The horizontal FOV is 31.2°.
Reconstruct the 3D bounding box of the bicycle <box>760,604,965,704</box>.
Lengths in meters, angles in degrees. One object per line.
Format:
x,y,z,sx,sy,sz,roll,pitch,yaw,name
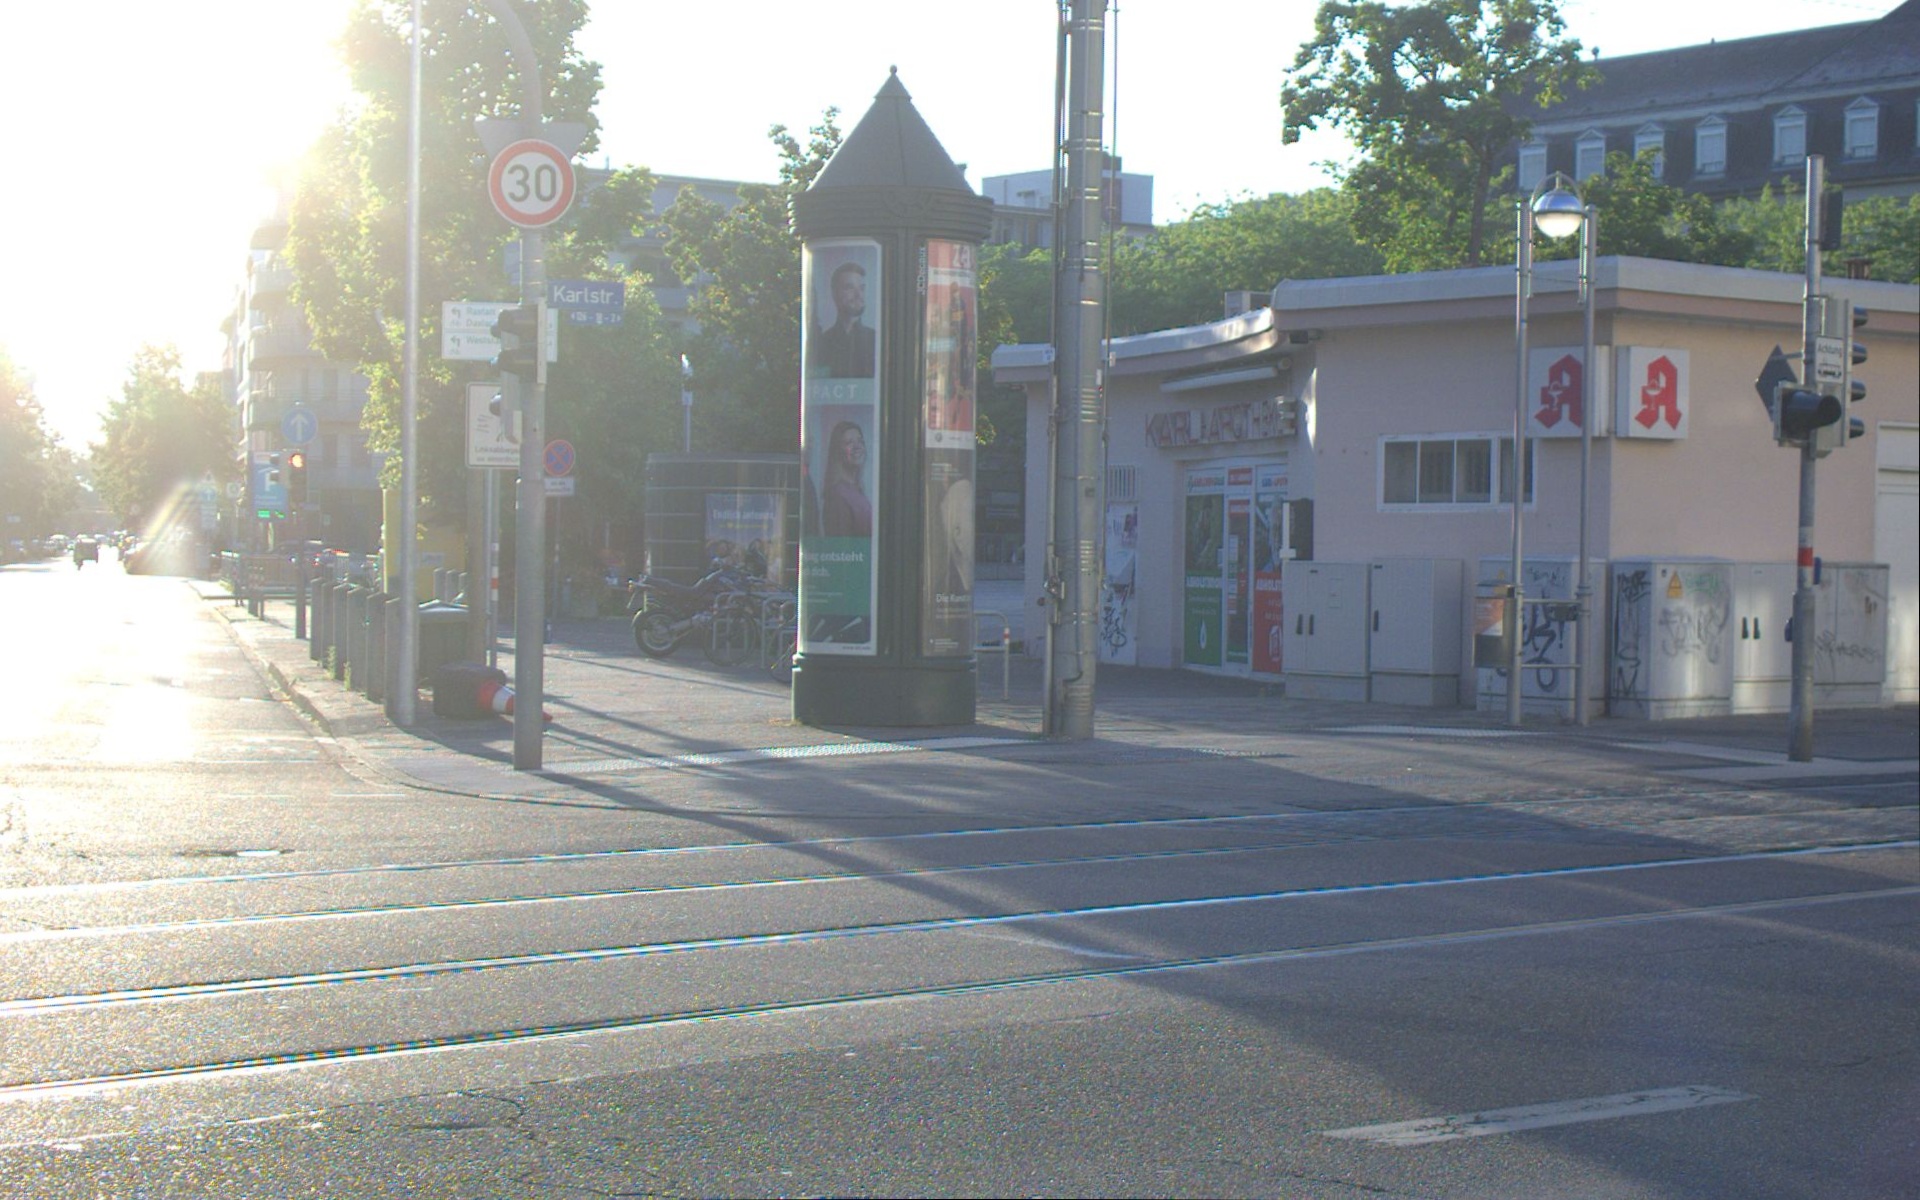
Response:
-1.049,0.575,36.717,2.146,1.040,0.560,1,0,-5,bicycle

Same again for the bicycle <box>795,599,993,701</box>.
-0.690,0.521,35.801,2.020,1.041,0.560,1,0,-5,bicycle

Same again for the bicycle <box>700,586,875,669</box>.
-2.079,0.331,41.388,2.077,0.979,0.560,1,0,-5,bicycle

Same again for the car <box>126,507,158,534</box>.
-56.130,-5.451,235.929,1.993,1.809,4.001,1,1,-11,car

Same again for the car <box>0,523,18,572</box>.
-34.105,-1.844,120.098,1.993,1.678,4.001,1,1,-11,car

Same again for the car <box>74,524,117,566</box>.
-43.627,-2.754,173.569,1.993,2.007,4.001,2,0,-14,car

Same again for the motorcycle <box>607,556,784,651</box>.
-3.425,0.045,44.445,2.234,1.197,0.720,1,1,-7,motorcycle

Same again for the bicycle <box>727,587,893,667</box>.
-1.883,0.340,43.002,2.038,0.973,0.560,1,0,-5,bicycle
